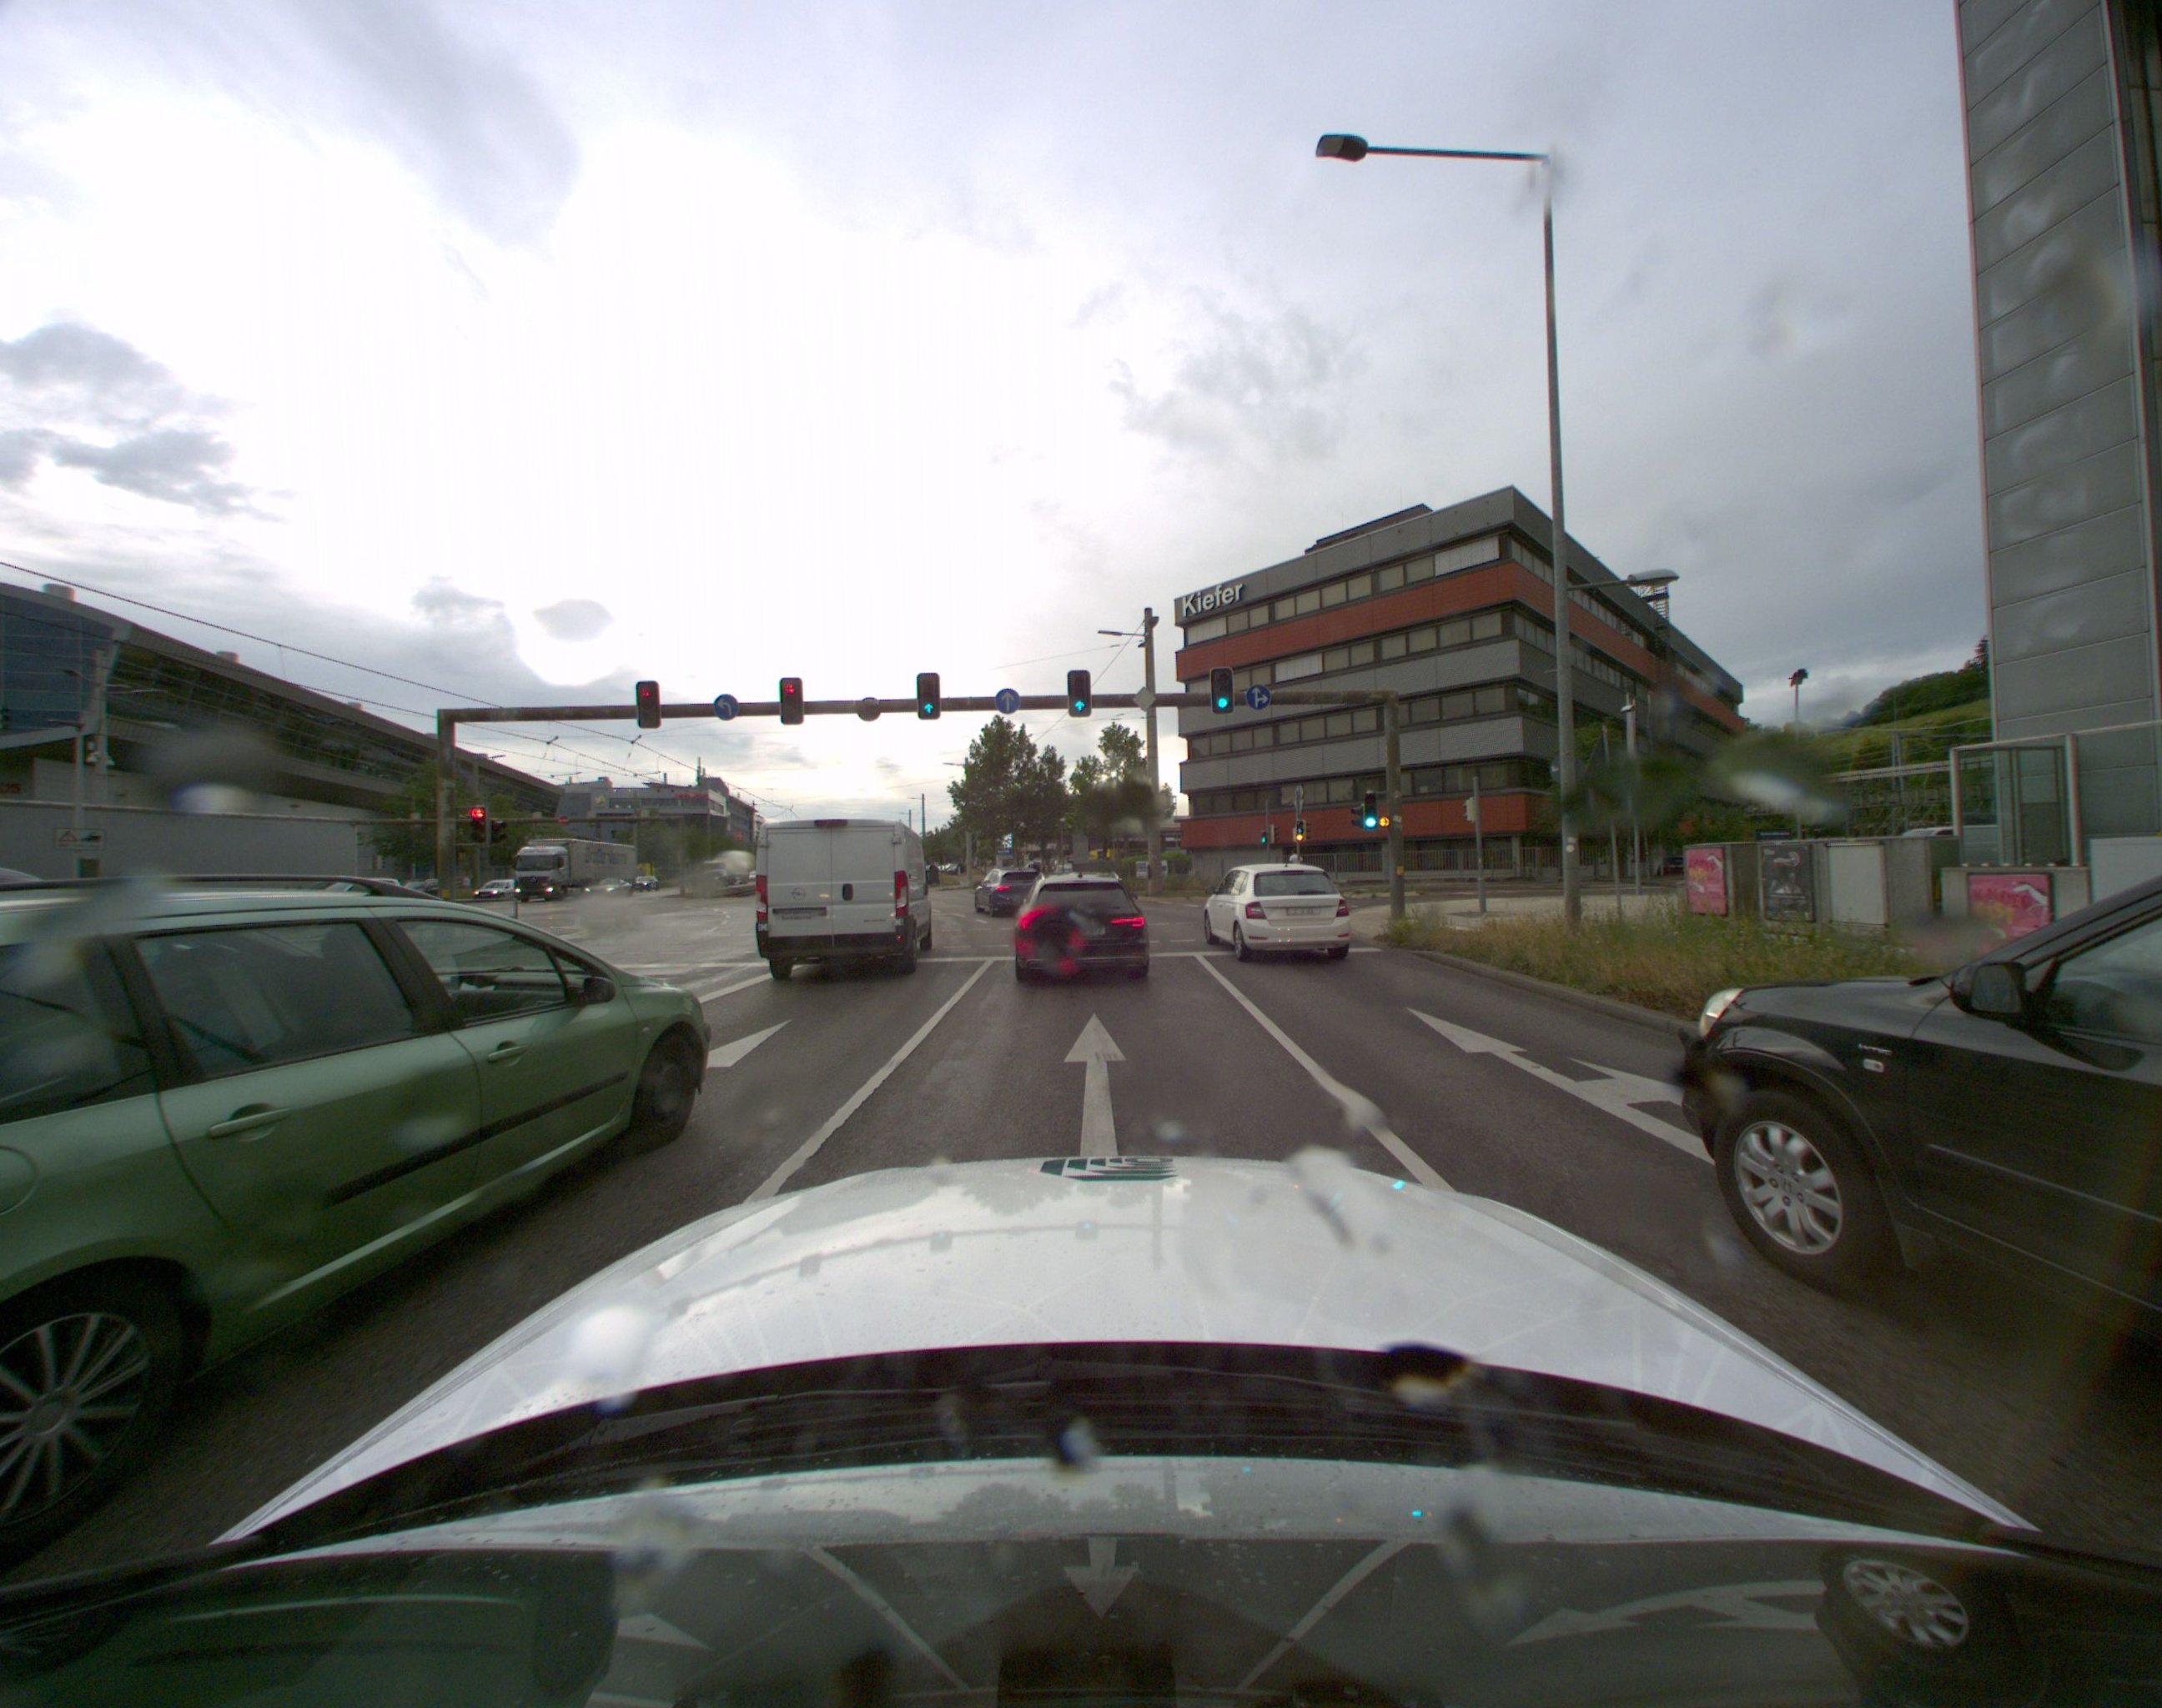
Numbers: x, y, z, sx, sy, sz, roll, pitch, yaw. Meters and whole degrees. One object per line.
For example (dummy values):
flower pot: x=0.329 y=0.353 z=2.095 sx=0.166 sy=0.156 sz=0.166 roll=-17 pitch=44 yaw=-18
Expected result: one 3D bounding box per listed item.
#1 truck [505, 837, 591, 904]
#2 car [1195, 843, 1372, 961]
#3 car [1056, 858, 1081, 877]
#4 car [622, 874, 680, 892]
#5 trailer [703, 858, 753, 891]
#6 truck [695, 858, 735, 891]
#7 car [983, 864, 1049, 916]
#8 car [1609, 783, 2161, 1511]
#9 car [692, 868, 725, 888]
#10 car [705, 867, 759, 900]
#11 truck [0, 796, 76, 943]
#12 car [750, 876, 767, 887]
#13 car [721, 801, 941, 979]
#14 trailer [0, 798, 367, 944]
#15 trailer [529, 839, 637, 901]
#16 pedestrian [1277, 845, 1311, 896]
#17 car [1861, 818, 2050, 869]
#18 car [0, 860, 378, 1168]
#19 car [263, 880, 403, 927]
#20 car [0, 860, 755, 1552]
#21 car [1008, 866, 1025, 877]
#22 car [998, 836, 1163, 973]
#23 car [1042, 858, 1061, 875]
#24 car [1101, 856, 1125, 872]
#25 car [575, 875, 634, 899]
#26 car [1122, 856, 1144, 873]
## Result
truck: x=-35.380 y=1.114 z=54.305 sx=2.668 sy=4.130 sz=6.161 roll=-1 pitch=-2 yaw=-11
car: x=3.165 y=0.746 z=13.605 sx=1.824 sy=1.656 sz=3.996 roll=0 pitch=-2 yaw=-2
car: x=-1.453 y=1.593 z=95.643 sx=1.997 sy=2.032 sz=3.980 roll=-2 pitch=-1 yaw=-15
car: x=-42.442 y=2.816 z=80.519 sx=4.628 sy=1.609 sz=1.994 roll=-1 pitch=-1 yaw=-9
trailer: x=-45.000 y=2.644 z=104.213 sx=2.722 sy=3.855 sz=11.199 roll=-2 pitch=-1 yaw=-7
truck: x=-44.359 y=2.514 z=98.906 sx=2.743 sy=3.805 sz=5.398 roll=-2 pitch=-1 yaw=-7
car: x=-2.106 y=1.095 z=25.473 sx=1.892 sy=1.465 sz=3.899 roll=-1 pitch=-2 yaw=-7
car: x=3.304 y=0.664 z=1.652 sx=1.759 sy=1.630 sz=4.325 roll=1 pitch=-1 yaw=1
car: x=-39.138 y=2.509 z=85.593 sx=1.994 sy=1.837 sz=4.889 roll=2 pitch=0 yaw=-11
car: x=-23.048 y=1.921 z=53.928 sx=1.768 sy=2.014 sz=4.344 roll=1 pitch=-1 yaw=-1
truck: x=-30.801 y=0.431 z=20.839 sx=2.825 sy=3.996 sz=5.981 roll=-1 pitch=-1 yaw=-2
car: x=-47.953 y=4.067 z=121.054 sx=2.165 sy=1.506 sz=4.273 roll=-1 pitch=-1 yaw=-19
car: x=-3.658 y=0.548 z=13.072 sx=2.442 sy=2.294 sz=4.893 roll=1 pitch=-2 yaw=-6
trailer: x=-31.285 y=0.560 z=28.778 sx=2.790 sy=4.107 sz=11.422 roll=-2 pitch=-1 yaw=-5
trailer: x=-36.697 y=1.257 z=60.684 sx=2.651 sy=4.125 sz=12.691 roll=-1 pitch=-2 yaw=-12
pedestrian: x=9.343 y=0.705 z=35.711 sx=1.139 sy=2.125 sz=1.223 roll=-2 pitch=0 yaw=1
car: x=35.752 y=-0.388 z=33.450 sx=5.033 sy=1.916 sz=2.006 roll=-1 pitch=-2 yaw=11
car: x=-6.473 y=0.826 z=4.274 sx=1.719 sy=1.592 sz=4.195 roll=1 pitch=-1 yaw=3
car: x=-28.147 y=1.813 z=30.850 sx=1.887 sy=1.652 sz=4.082 roll=1 pitch=-2 yaw=-9
car: x=-3.088 y=0.780 z=3.209 sx=1.688 sy=1.468 sz=4.404 roll=1 pitch=-2 yaw=2
car: x=-10.102 y=2.779 z=127.064 sx=1.795 sy=1.591 sz=3.978 roll=-2 pitch=-1 yaw=-16
car: x=0.060 y=0.677 z=12.032 sx=1.986 sy=1.637 sz=4.001 roll=-2 pitch=-2 yaw=2
car: x=-3.841 y=1.637 z=104.531 sx=1.681 sy=2.014 sz=3.524 roll=1 pitch=-2 yaw=-14
car: x=4.221 y=1.371 z=107.680 sx=1.876 sy=2.014 sz=3.749 roll=2 pitch=-2 yaw=-19
car: x=-32.149 y=2.198 z=55.096 sx=1.903 sy=1.555 sz=4.549 roll=1 pitch=-2 yaw=-10
car: x=6.346 y=1.315 z=99.239 sx=1.678 sy=2.014 sz=3.121 roll=1 pitch=-2 yaw=-15
